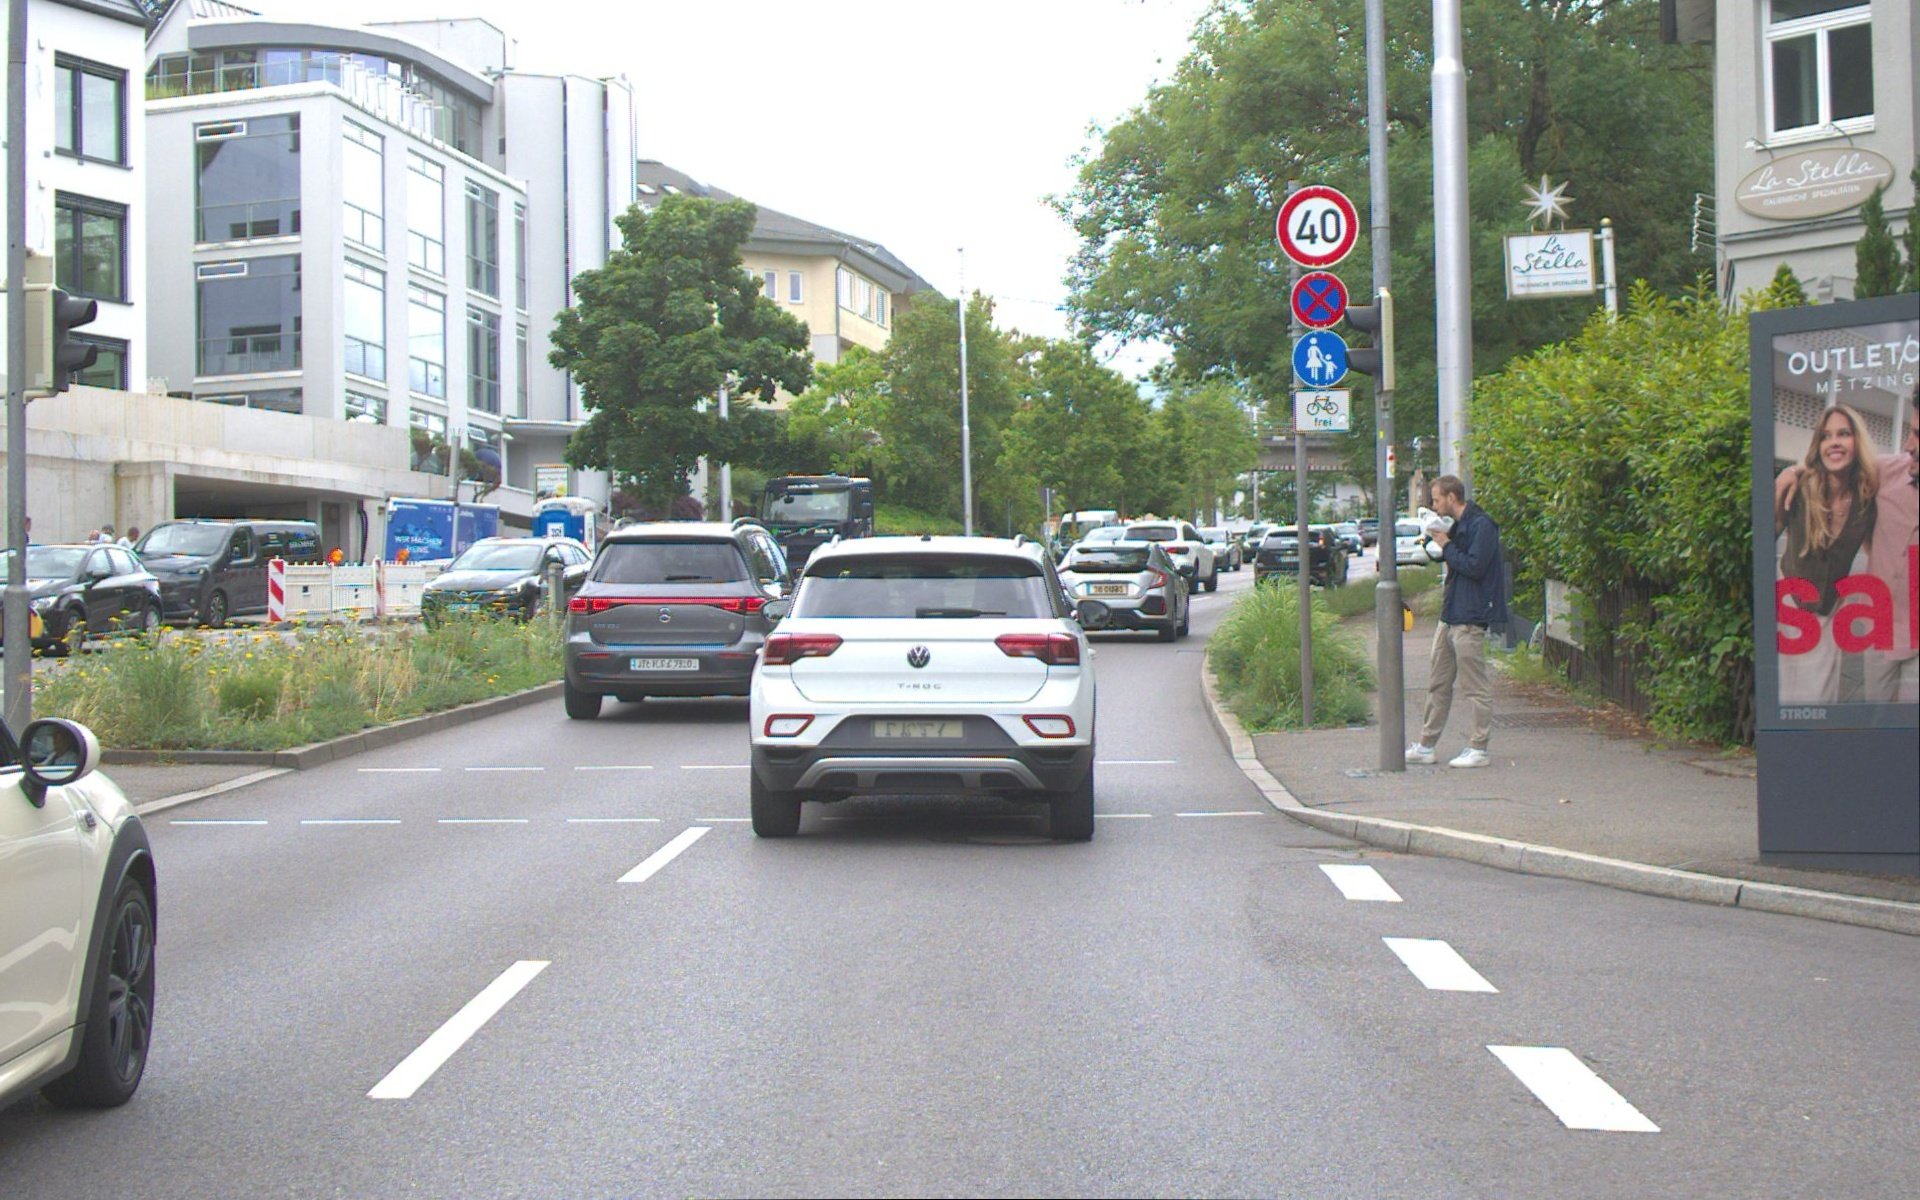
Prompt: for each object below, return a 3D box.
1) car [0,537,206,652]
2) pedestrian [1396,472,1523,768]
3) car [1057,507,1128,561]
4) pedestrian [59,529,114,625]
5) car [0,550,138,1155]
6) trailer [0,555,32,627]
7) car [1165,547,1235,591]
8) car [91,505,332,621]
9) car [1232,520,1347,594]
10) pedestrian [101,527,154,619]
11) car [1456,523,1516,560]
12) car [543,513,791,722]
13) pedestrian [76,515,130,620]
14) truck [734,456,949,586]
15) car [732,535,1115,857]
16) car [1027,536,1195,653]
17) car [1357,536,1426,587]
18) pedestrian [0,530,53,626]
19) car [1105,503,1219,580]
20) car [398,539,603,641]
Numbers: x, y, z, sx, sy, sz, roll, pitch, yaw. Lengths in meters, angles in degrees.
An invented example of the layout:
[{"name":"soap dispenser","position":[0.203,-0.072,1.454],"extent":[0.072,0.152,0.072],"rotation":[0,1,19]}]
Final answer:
[{"name":"car","position":[-11.489,-0.089,44.270],"extent":[1.627,1.388,3.853],"rotation":[2,1,20]},{"name":"pedestrian","position":[3.143,0.120,21.662],"extent":[0.693,1.827,0.620],"rotation":[1,1,2]},{"name":"car","position":[5.732,-2.837,148.000],"extent":[2.070,2.298,5.462],"rotation":[0,1,13]},{"name":"pedestrian","position":[-15.102,-0.402,59.441],"extent":[0.674,1.634,0.672],"rotation":[1,1,-38]},{"name":"car","position":[-3.028,0.602,7.693],"extent":[1.627,1.388,3.566],"rotation":[-1,1,-2]},{"name":"trailer","position":[-16.351,-0.112,52.900],"extent":[2.247,1.108,4.620],"rotation":[0,1,10]},{"name":"car","position":[7.857,-1.010,112.165],"extent":[1.844,1.388,4.282],"rotation":[0,1,10]},{"name":"car","position":[-13.192,-0.669,60.955],"extent":[1.984,1.960,5.215],"rotation":[0,1,15]},{"name":"car","position":[7.398,-0.942,76.773],"extent":[1.874,1.496,4.552],"rotation":[3,1,13]},{"name":"pedestrian","position":[-14.934,-0.484,61.650],"extent":[0.674,1.634,0.672],"rotation":[1,1,-38]},{"name":"car","position":[21.965,-2.464,143.730],"extent":[1.985,1.495,4.055],"rotation":[-1,1,2]},{"name":"car","position":[-2.464,0.102,29.942],"extent":[1.812,1.646,4.636],"rotation":[-1,1,-1]},{"name":"pedestrian","position":[-15.093,-0.570,60.557],"extent":[0.674,1.834,0.672],"rotation":[1,1,-38]},{"name":"truck","position":[-2.752,-1.905,83.498],"extent":[2.963,2.961,8.973],"rotation":[1,1,13]},{"name":"car","position":[-0.297,0.437,18.626],"extent":[1.811,1.534,3.690],"rotation":[-1,1,-4]},{"name":"car","position":[2.217,-0.084,49.151],"extent":[1.874,1.496,4.553],"rotation":[3,1,8]},{"name":"car","position":[13.173,-1.184,104.718],"extent":[1.859,1.495,4.054],"rotation":[-1,1,10]},{"name":"pedestrian","position":[-16.151,-0.380,59.417],"extent":[0.626,1.634,0.671],"rotation":[2,1,17]},{"name":"car","position":[4.579,-1.316,77.201],"extent":[1.859,1.646,4.634],"rotation":[-1,1,12]},{"name":"car","position":[-7.093,-0.173,53.543],"extent":[1.693,1.496,4.552],"rotation":[1,1,12]}]
